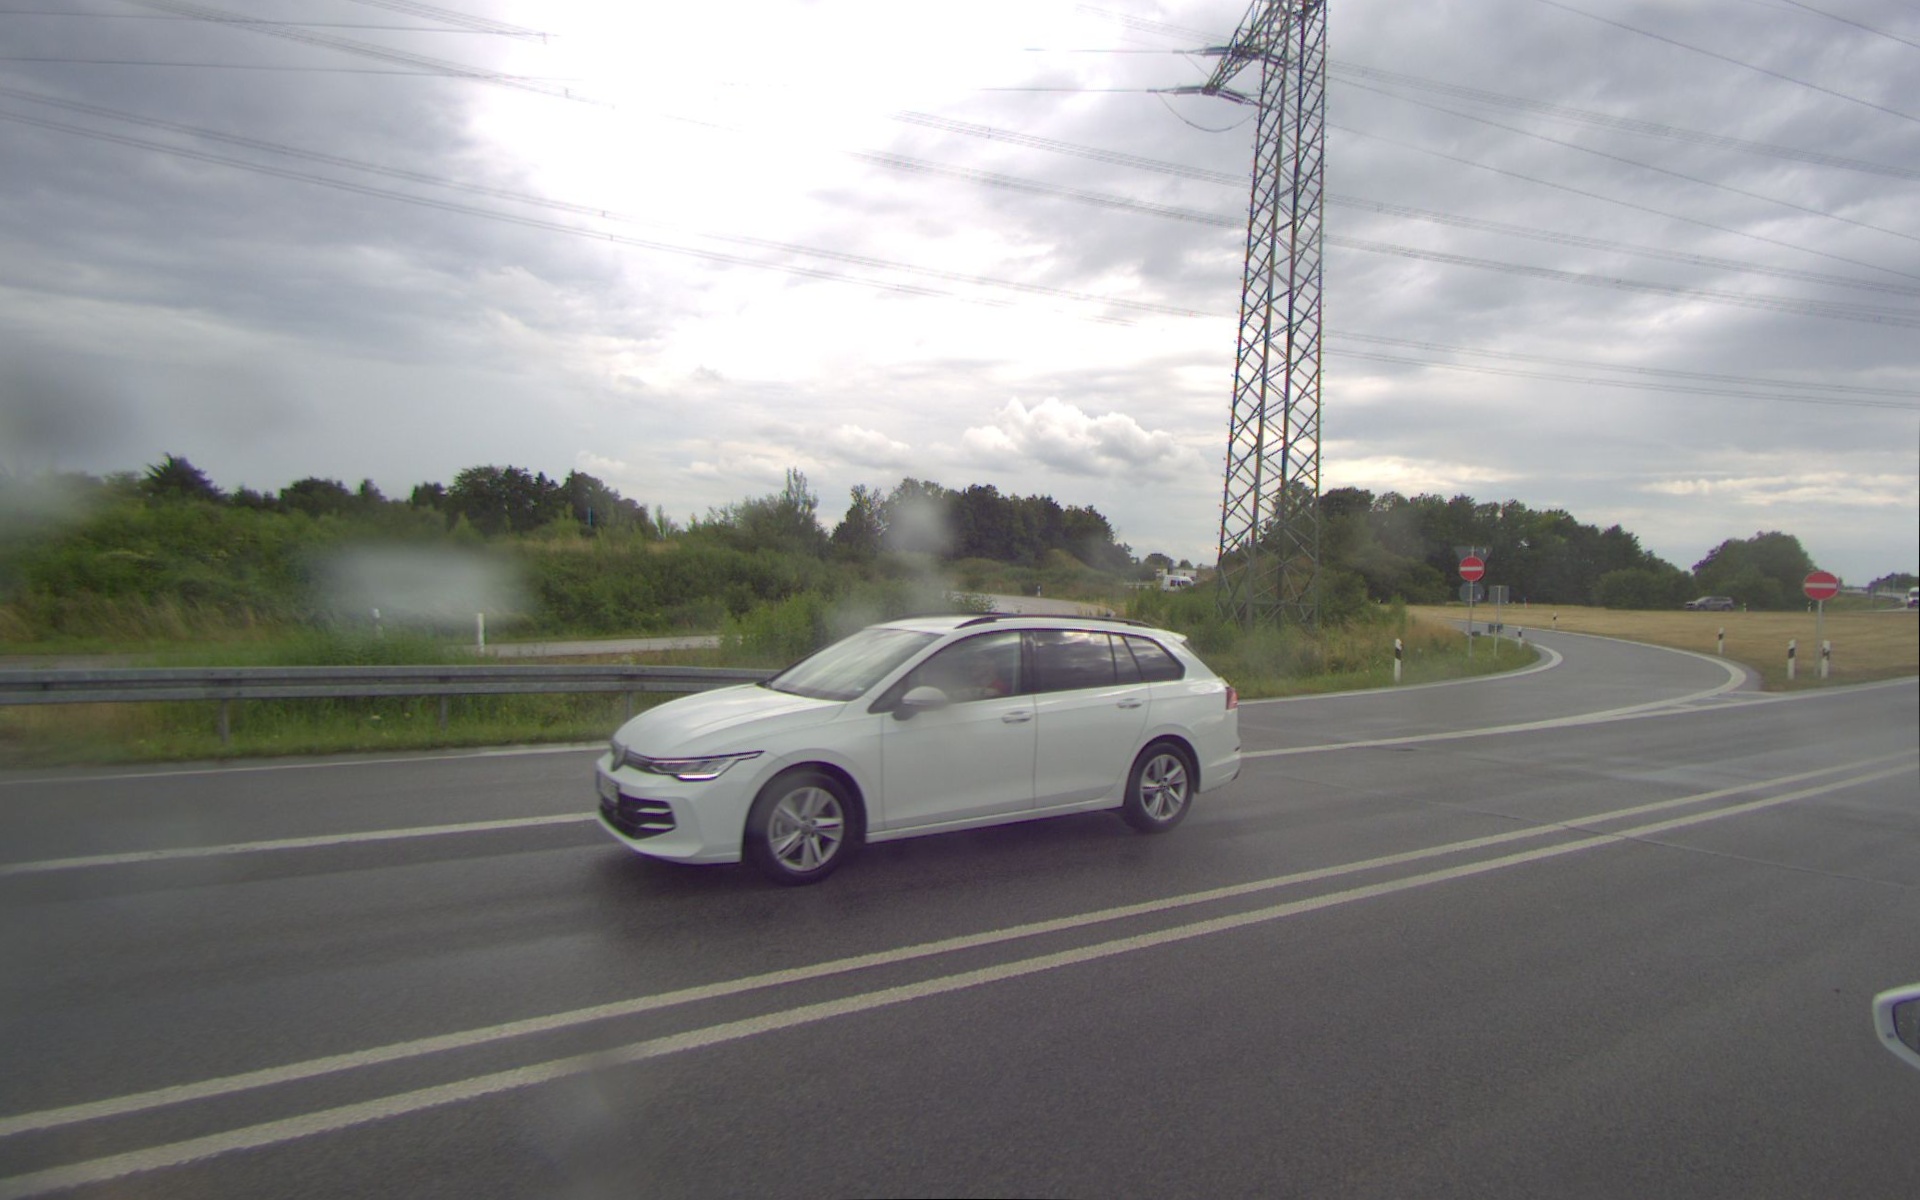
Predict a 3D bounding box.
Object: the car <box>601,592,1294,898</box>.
[{"bbox_3d":[0.097,0.800,6.924,4.561,1.499,1.695,3,-1,-33],"label":"car"}]
